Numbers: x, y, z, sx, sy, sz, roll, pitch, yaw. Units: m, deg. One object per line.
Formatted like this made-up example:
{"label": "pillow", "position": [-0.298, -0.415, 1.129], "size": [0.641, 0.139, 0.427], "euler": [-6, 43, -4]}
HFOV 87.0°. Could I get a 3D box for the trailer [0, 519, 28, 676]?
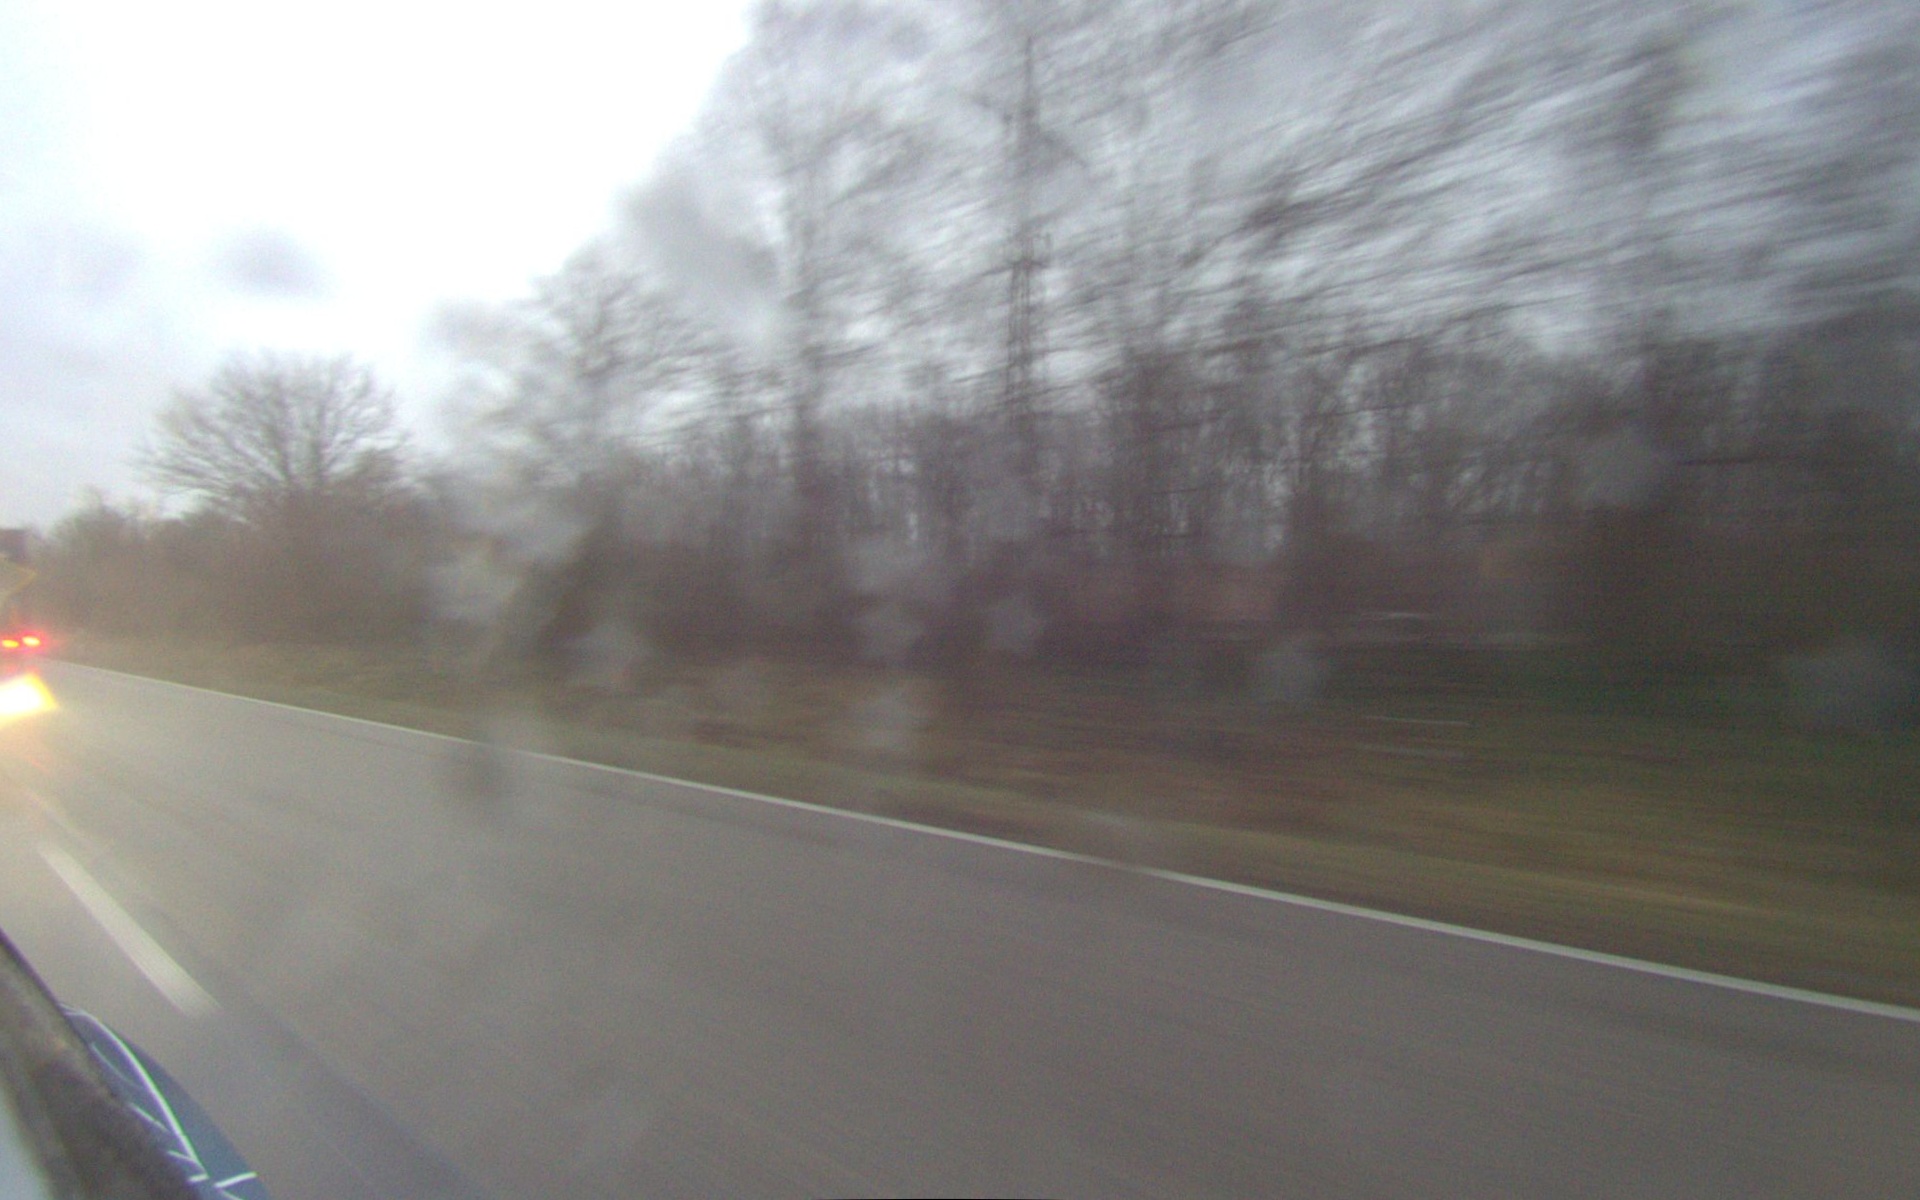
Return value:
{"label": "trailer", "position": [-32.475, 0.015, 32.417], "size": [12.237, 4.491, 2.643], "euler": [-1, 0, 42]}
